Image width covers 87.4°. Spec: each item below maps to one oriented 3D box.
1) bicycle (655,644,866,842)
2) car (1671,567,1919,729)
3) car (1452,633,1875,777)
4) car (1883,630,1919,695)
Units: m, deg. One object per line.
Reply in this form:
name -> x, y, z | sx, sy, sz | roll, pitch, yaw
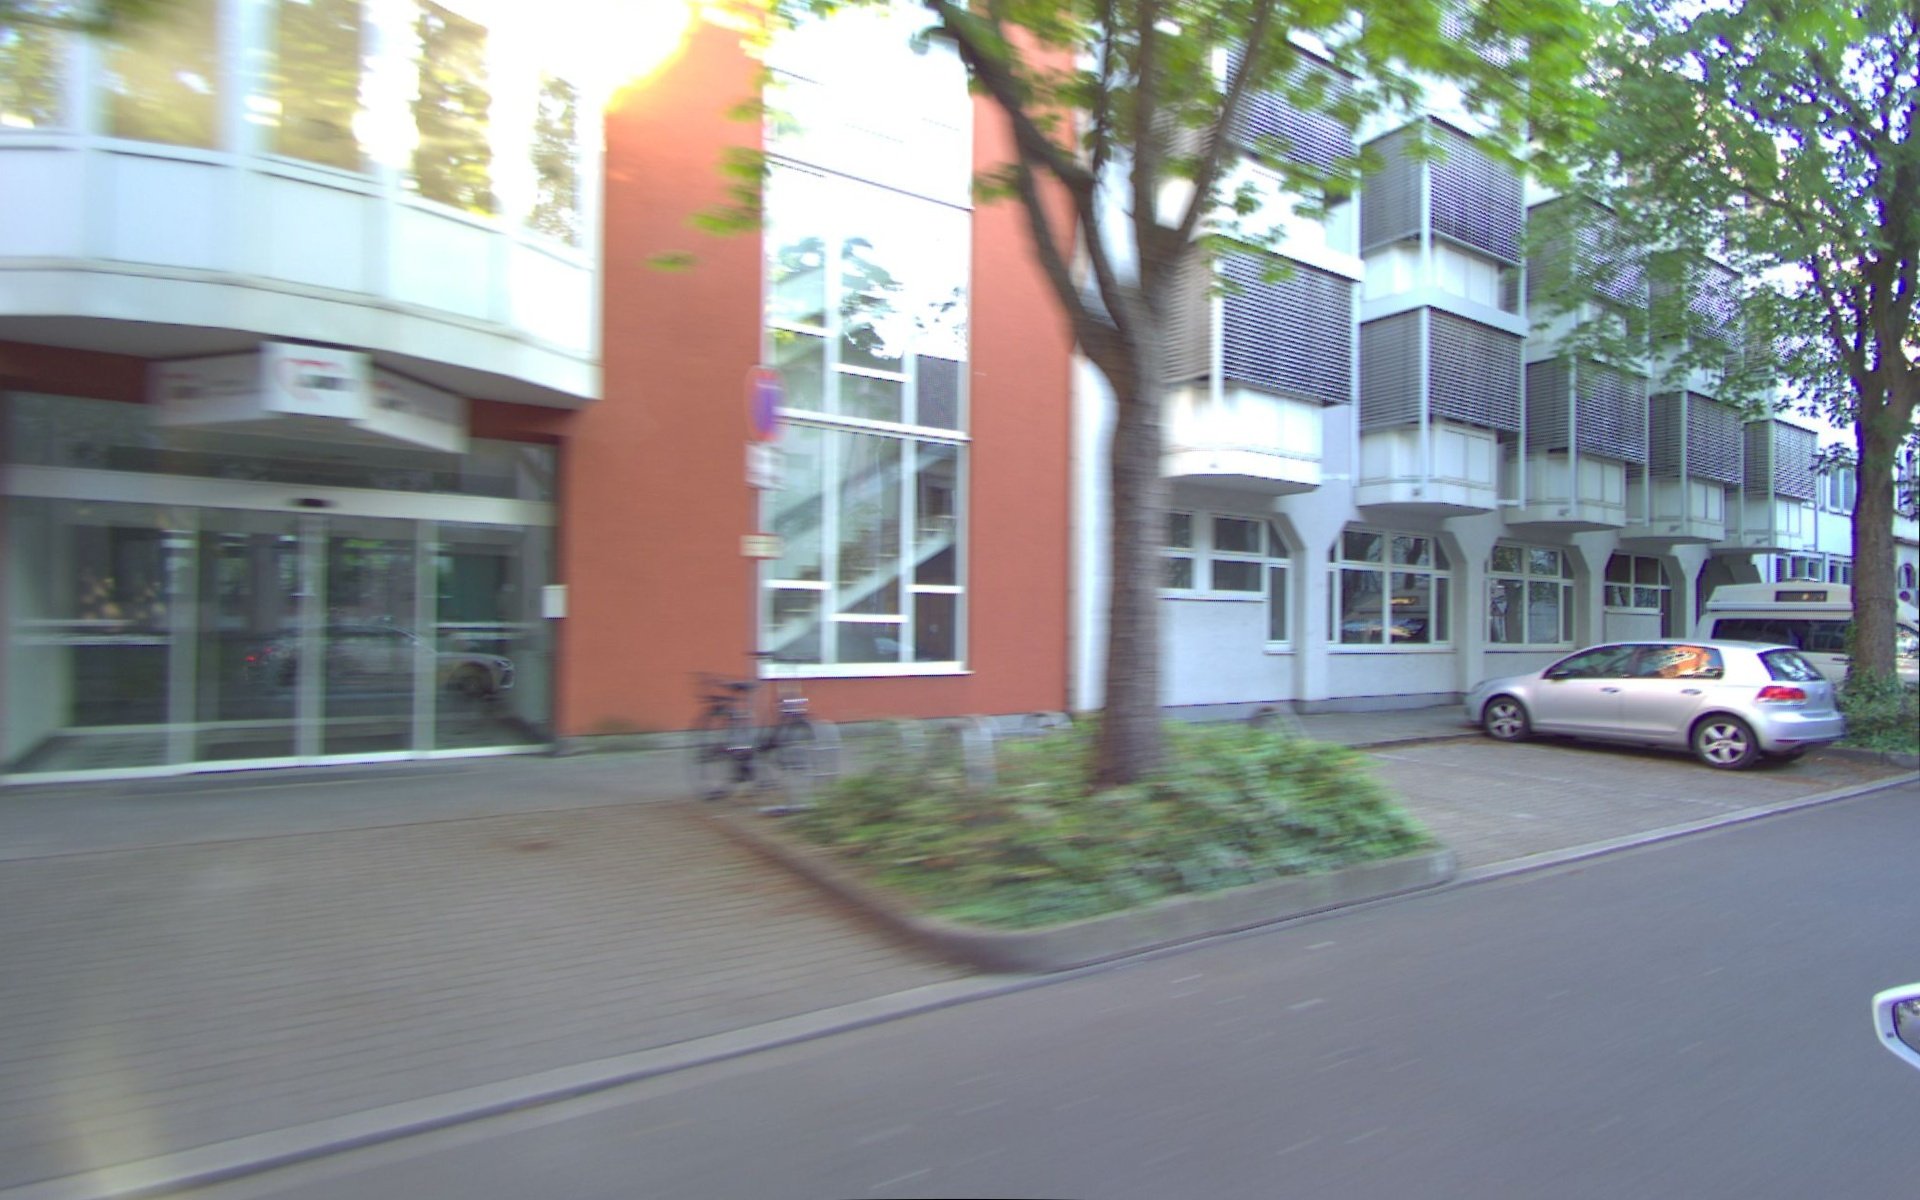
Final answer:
bicycle -> -1.494, 0.933, 7.240 | 0.650, 1.192, 1.943 | 2, -2, -39
car -> 15.772, 0.800, 17.632 | 2.098, 2.607, 4.975 | 1, -1, -33
car -> 8.954, 1.217, 13.154 | 1.931, 1.488, 4.145 | 1, -1, -32
car -> 25.986, 1.598, 24.433 | 2.136, 1.643, 4.826 | 2, -1, -32
